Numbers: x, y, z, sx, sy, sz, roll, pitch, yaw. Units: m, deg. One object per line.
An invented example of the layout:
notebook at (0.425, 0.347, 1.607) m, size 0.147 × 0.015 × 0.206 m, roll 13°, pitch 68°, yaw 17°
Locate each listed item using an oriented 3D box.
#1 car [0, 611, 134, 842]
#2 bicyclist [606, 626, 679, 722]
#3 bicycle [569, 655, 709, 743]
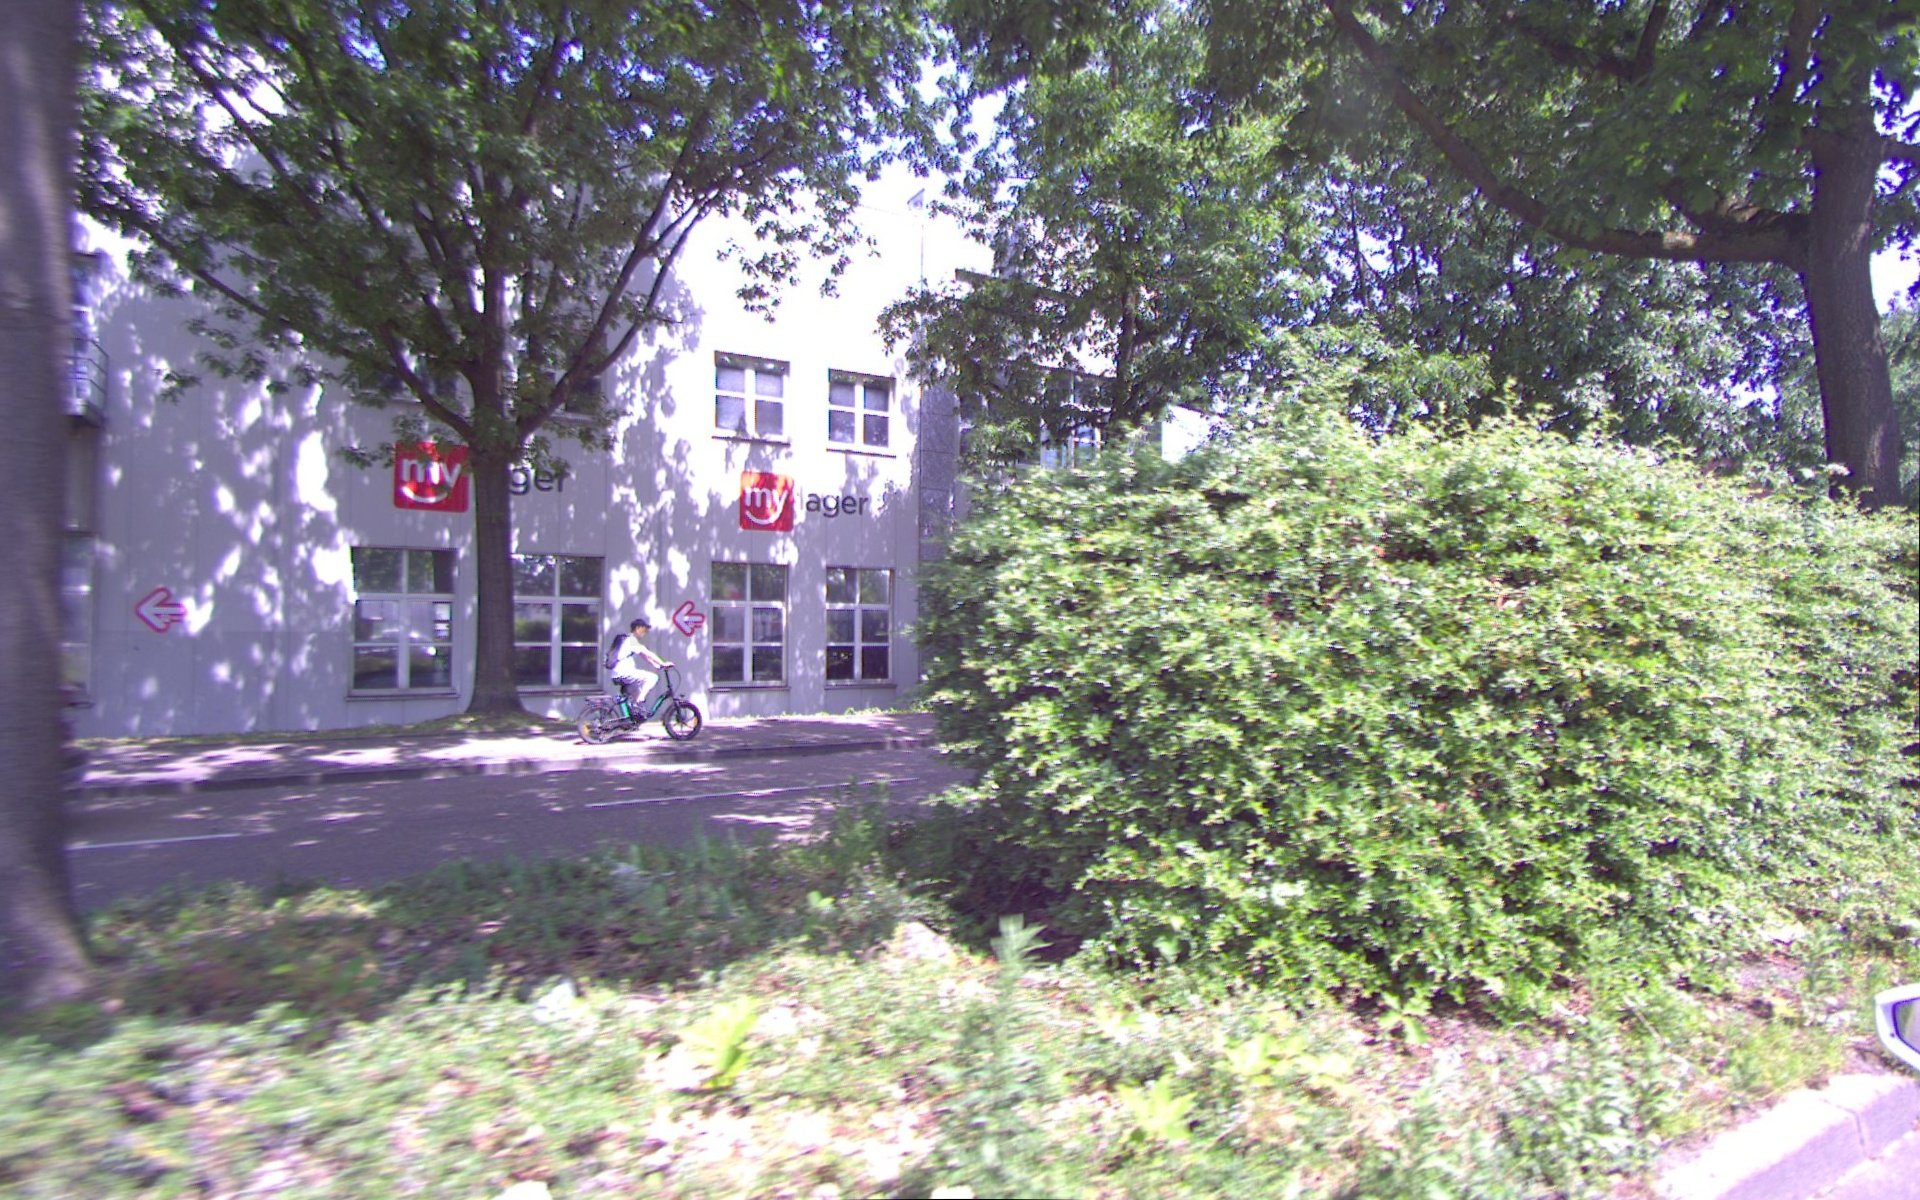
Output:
car at (-8.925, 0.925, 7.103) m, size 4.467 × 1.657 × 1.813 m, roll 1°, pitch -3°, yaw -30°
bicyclist at (-4.375, 1.006, 13.836) m, size 0.803 × 1.269 × 0.641 m, roll 2°, pitch -1°, yaw -30°
bicycle at (-4.403, 1.340, 13.830) m, size 1.741 × 1.134 × 0.518 m, roll 2°, pitch -1°, yaw -31°
